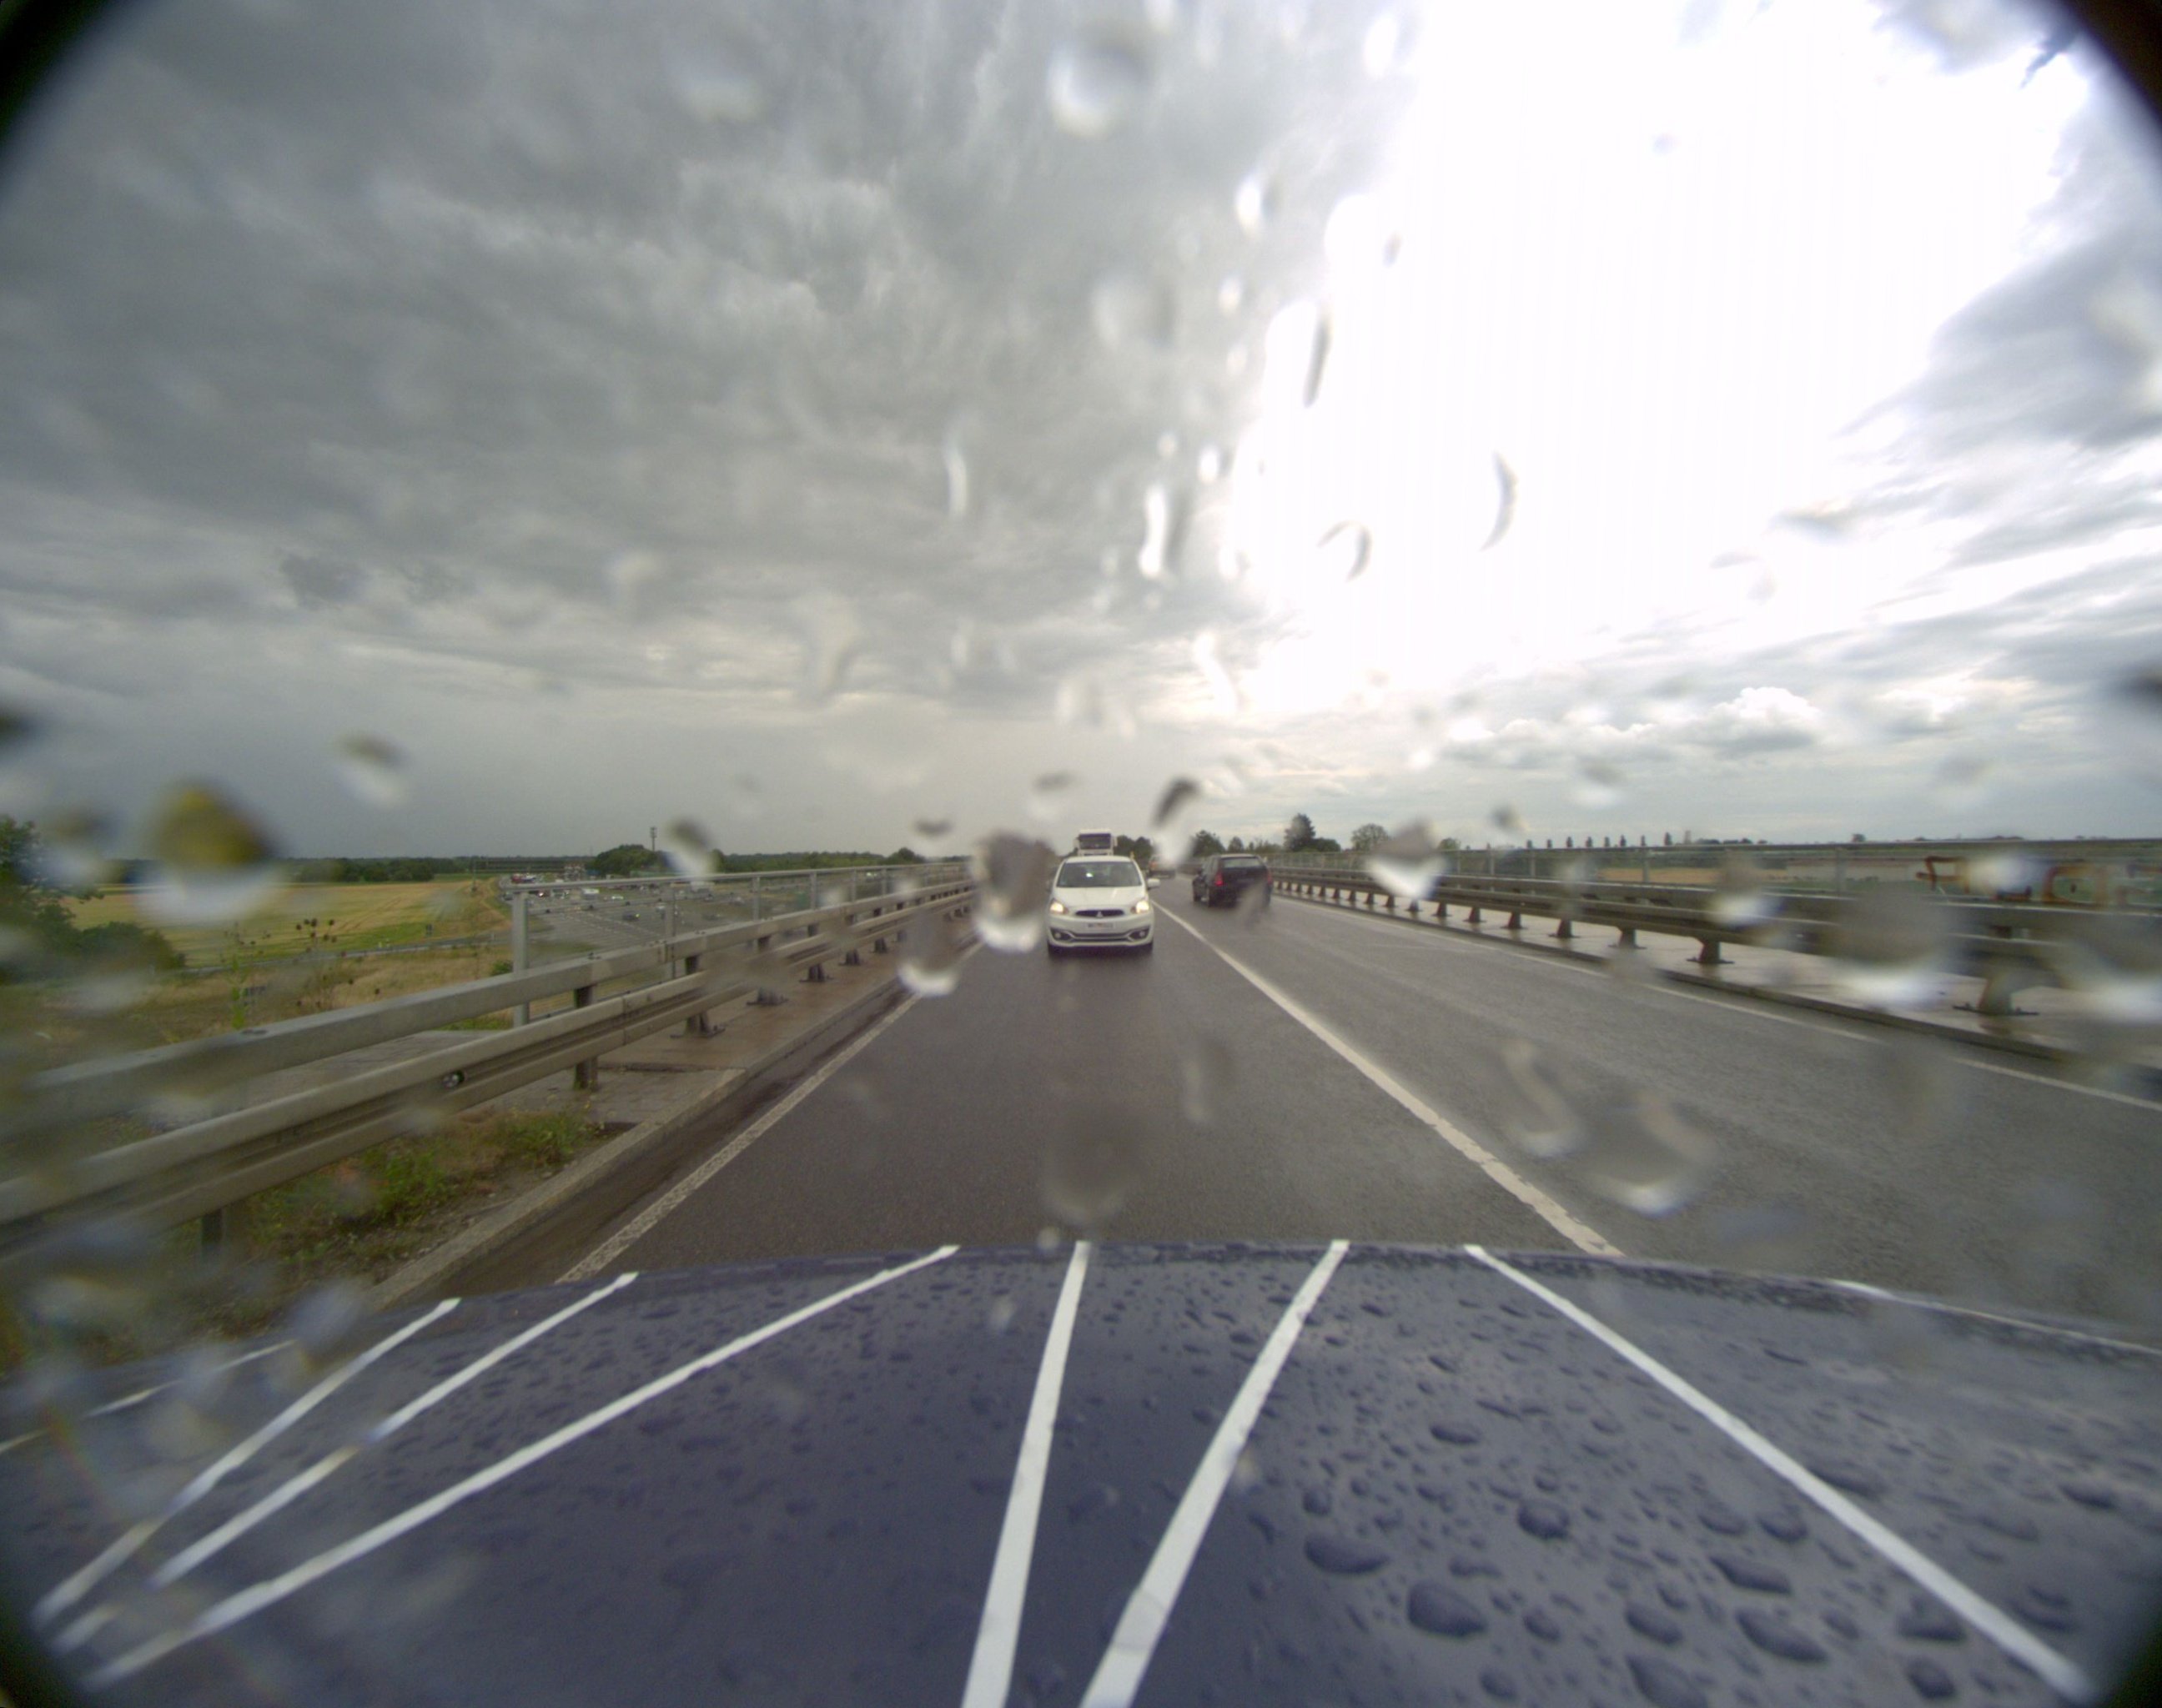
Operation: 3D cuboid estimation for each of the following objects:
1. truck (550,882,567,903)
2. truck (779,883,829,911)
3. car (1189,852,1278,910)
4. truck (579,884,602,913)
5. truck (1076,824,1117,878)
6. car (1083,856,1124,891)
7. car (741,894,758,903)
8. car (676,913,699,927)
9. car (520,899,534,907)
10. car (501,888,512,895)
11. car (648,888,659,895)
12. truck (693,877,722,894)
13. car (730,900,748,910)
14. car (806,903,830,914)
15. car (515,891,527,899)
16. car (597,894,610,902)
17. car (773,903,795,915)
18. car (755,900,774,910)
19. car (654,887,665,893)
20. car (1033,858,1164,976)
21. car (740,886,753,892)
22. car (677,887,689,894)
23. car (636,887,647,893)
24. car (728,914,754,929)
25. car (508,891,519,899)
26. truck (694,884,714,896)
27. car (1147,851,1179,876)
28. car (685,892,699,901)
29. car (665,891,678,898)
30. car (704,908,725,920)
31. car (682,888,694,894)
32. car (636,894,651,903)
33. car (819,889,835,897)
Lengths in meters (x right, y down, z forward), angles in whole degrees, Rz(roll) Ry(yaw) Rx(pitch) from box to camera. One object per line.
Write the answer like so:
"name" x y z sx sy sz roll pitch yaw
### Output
"truck" -124.435 9.160 180.850 2.799 4.590 12.724 -3 0 -36
"truck" -51.681 7.865 141.428 3.611 4.511 15.589 -3 0 -39
"car" 4.260 0.700 21.826 1.701 1.424 4.323 -2 0 1
"truck" -93.287 8.354 144.444 2.799 4.871 12.724 -3 0 -36
"truck" 1.055 -0.352 55.912 2.631 3.537 8.474 -2 2 0
"car" 0.973 0.837 34.212 1.675 1.366 4.129 -2 0 1
"car" -69.359 9.218 158.965 1.860 1.659 4.712 -3 0 -40
"car" -56.086 9.390 108.358 1.860 1.659 4.712 -3 0 -40
"car" -113.282 10.007 155.283 1.818 1.427 4.712 -3 0 -41
"car" -147.428 9.673 194.905 1.860 1.659 4.712 -3 0 -40
"car" -113.441 10.013 201.579 1.860 1.659 4.712 -3 0 -40
"truck" -101.848 8.519 206.828 3.611 4.511 15.589 -3 0 -39
"car" -65.783 9.760 145.948 1.860 1.659 4.712 -3 0 -40
"car" -43.169 8.939 124.699 1.860 1.659 4.712 -3 0 -42
"car" -132.199 9.609 179.346 1.860 1.659 4.712 -3 0 -40
"car" -110.172 10.137 175.441 1.860 1.659 4.712 -3 0 -40
"car" -49.773 9.240 127.484 1.860 1.659 4.712 -3 0 -42
"car" -59.603 9.641 143.071 1.860 1.659 4.712 -3 0 -40
"car" -118.369 10.041 213.524 1.860 1.659 4.712 -3 0 -40
"car" 0.261 0.853 12.149 1.675 1.476 4.129 -2 0 1
"car" -93.924 9.752 213.342 1.860 1.659 4.712 -3 0 -40
"car" -102.368 9.452 195.452 1.860 1.659 4.712 -3 0 -40
"car" -125.650 10.303 217.128 1.860 1.659 4.712 -3 0 -40
"car" -45.217 8.915 101.036 1.860 1.659 4.712 -3 0 -40
"car" -137.668 9.984 184.381 1.860 1.659 4.712 -3 0 -40
"truck" -94.619 9.023 190.582 2.216 2.948 9.284 -3 0 -40
"car" 5.402 0.596 50.577 1.718 1.508 3.859 -2 1 1
"car" -87.013 9.469 169.945 1.860 1.659 4.712 -3 0 -40
"car" -100.623 9.878 186.520 1.860 1.659 4.712 -3 0 -40
"car" -58.618 9.542 121.544 1.860 1.659 4.712 -3 0 -40
"car" -106.809 10.058 206.279 1.860 1.659 4.712 -3 0 -40
"car" -96.151 9.737 166.949 1.860 1.659 4.712 -3 0 -40
"car" -57.383 8.826 171.468 1.860 1.659 4.712 -3 0 -40
